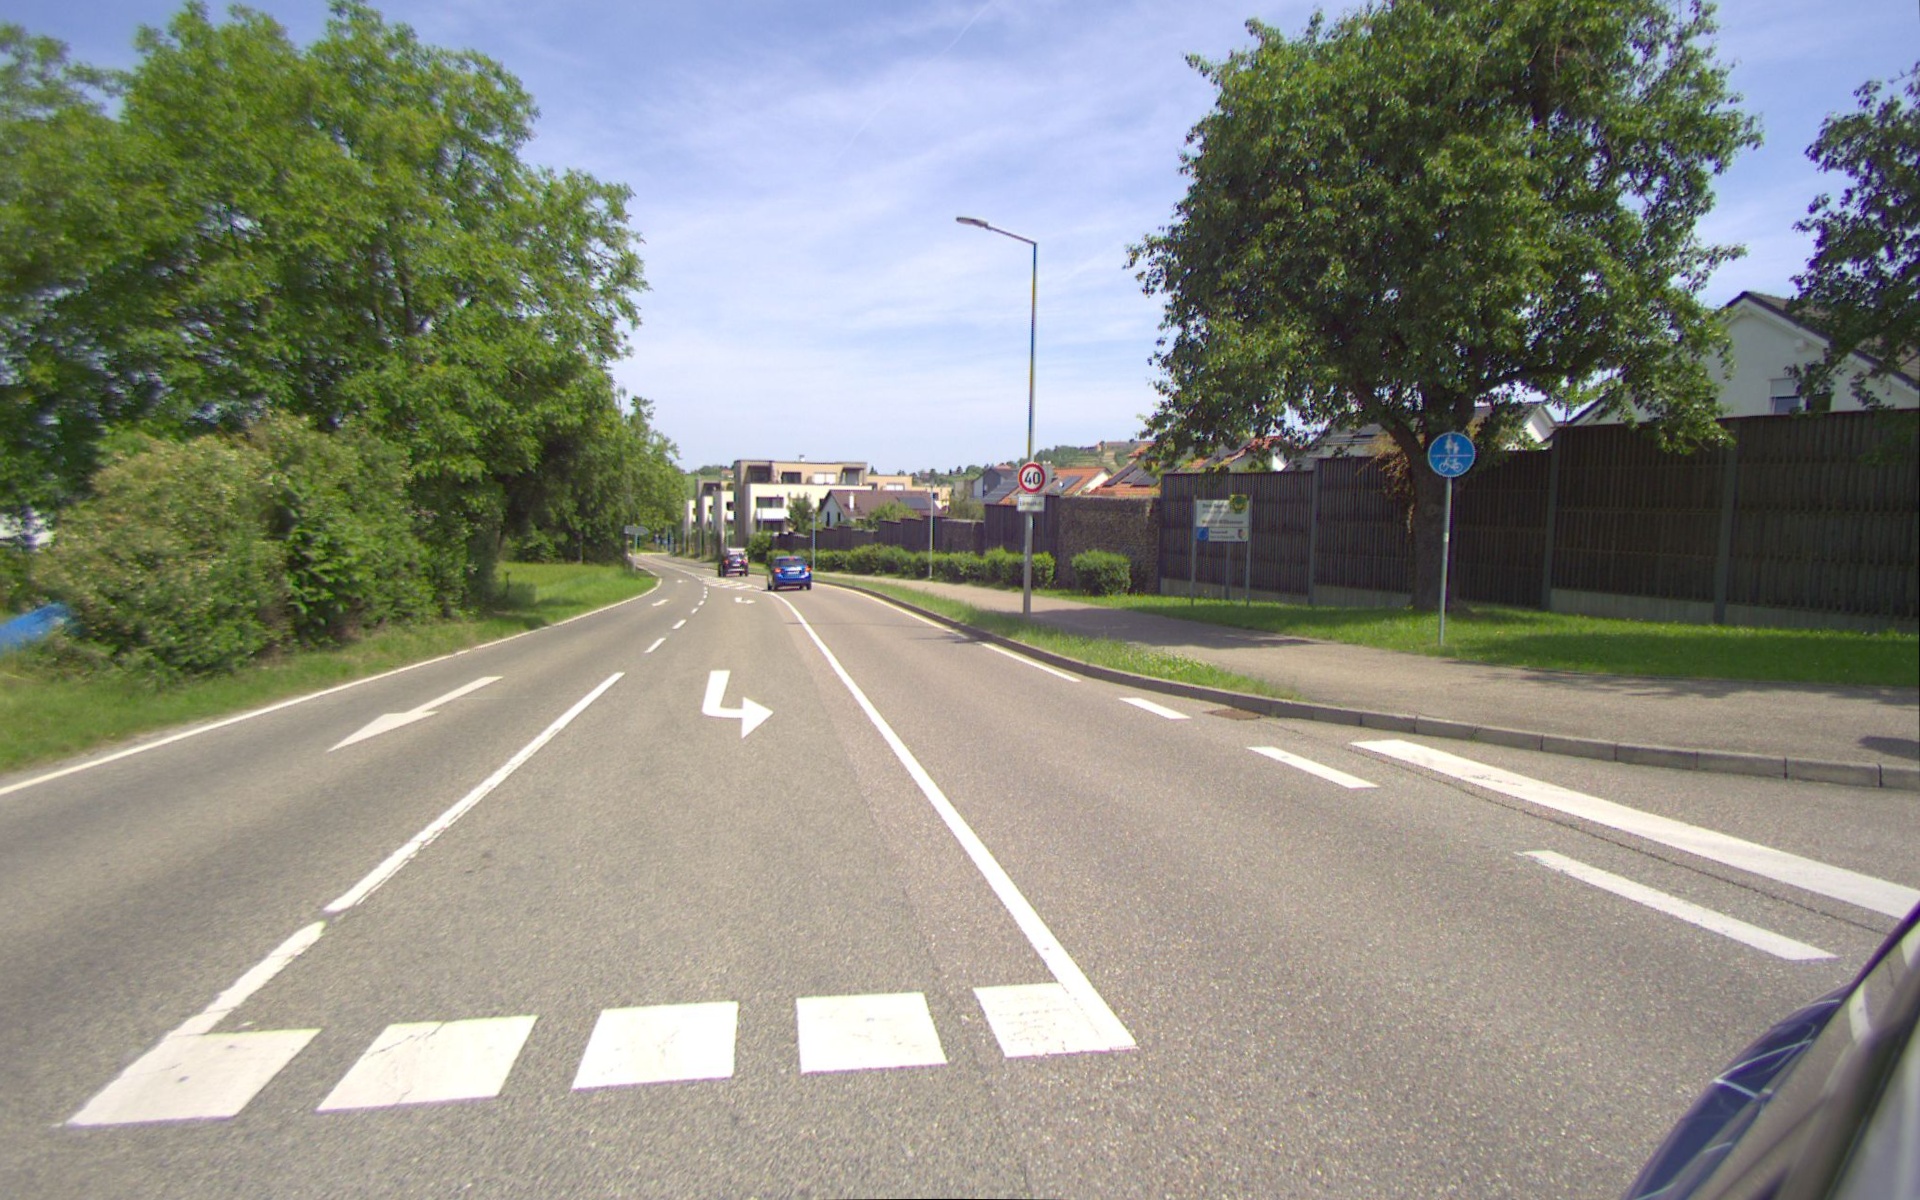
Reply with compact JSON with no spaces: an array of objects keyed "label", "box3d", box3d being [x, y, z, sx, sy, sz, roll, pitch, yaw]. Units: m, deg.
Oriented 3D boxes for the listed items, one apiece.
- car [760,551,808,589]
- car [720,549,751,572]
[{"label":"car","box3d":[-7.866,-1.358,45.134,1.580,1.510,3.858,-4,3,-16]},{"label":"car","box3d":[-16.231,-2.858,73.088,1.791,1.600,4.010,-1,3,-18]}]
